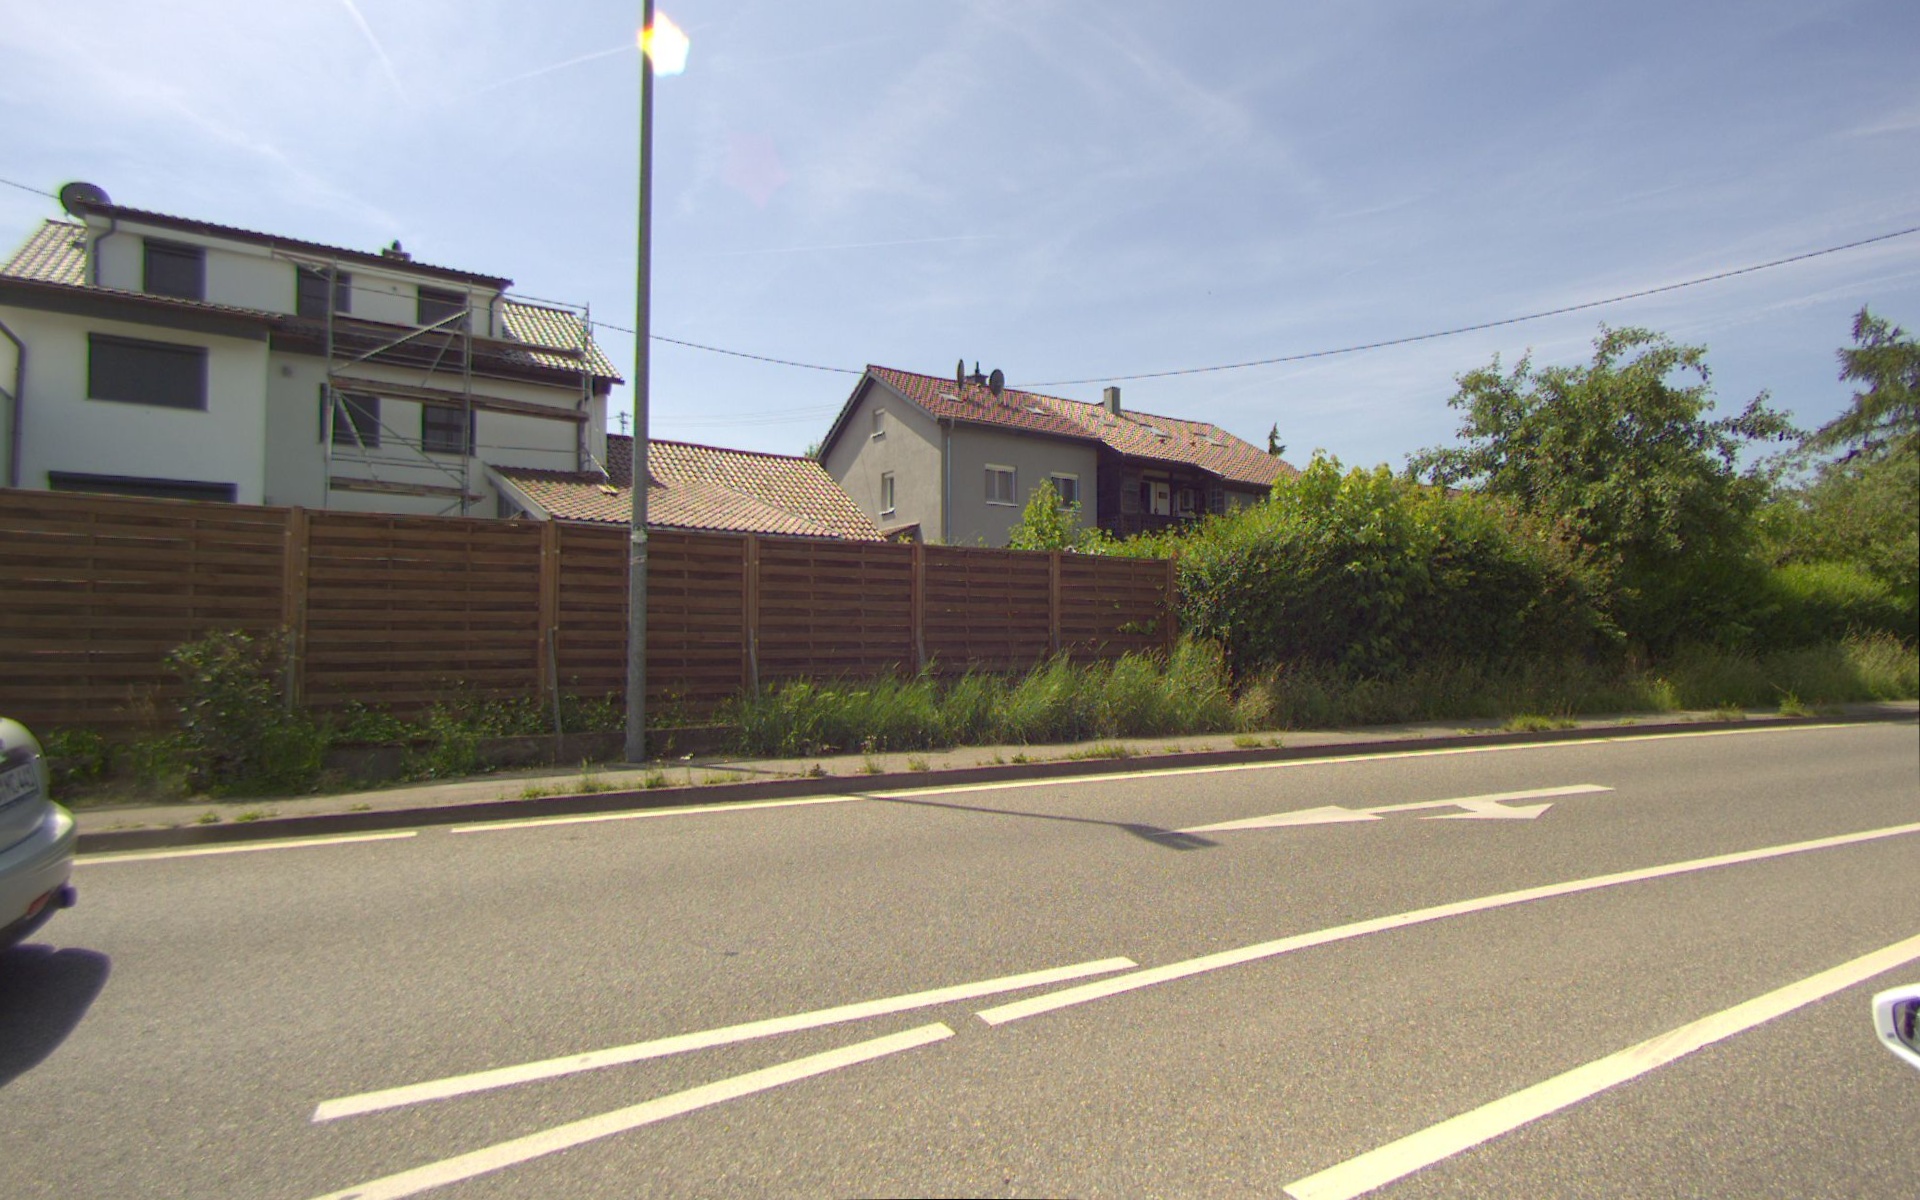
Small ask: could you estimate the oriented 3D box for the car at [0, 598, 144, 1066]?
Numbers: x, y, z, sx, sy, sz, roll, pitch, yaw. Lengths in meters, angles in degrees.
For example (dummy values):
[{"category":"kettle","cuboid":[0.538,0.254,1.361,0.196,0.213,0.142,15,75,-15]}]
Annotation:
[{"category":"car","cuboid":[-4.775,0.680,2.880,3.517,1.400,1.615,1,0,-29]}]
